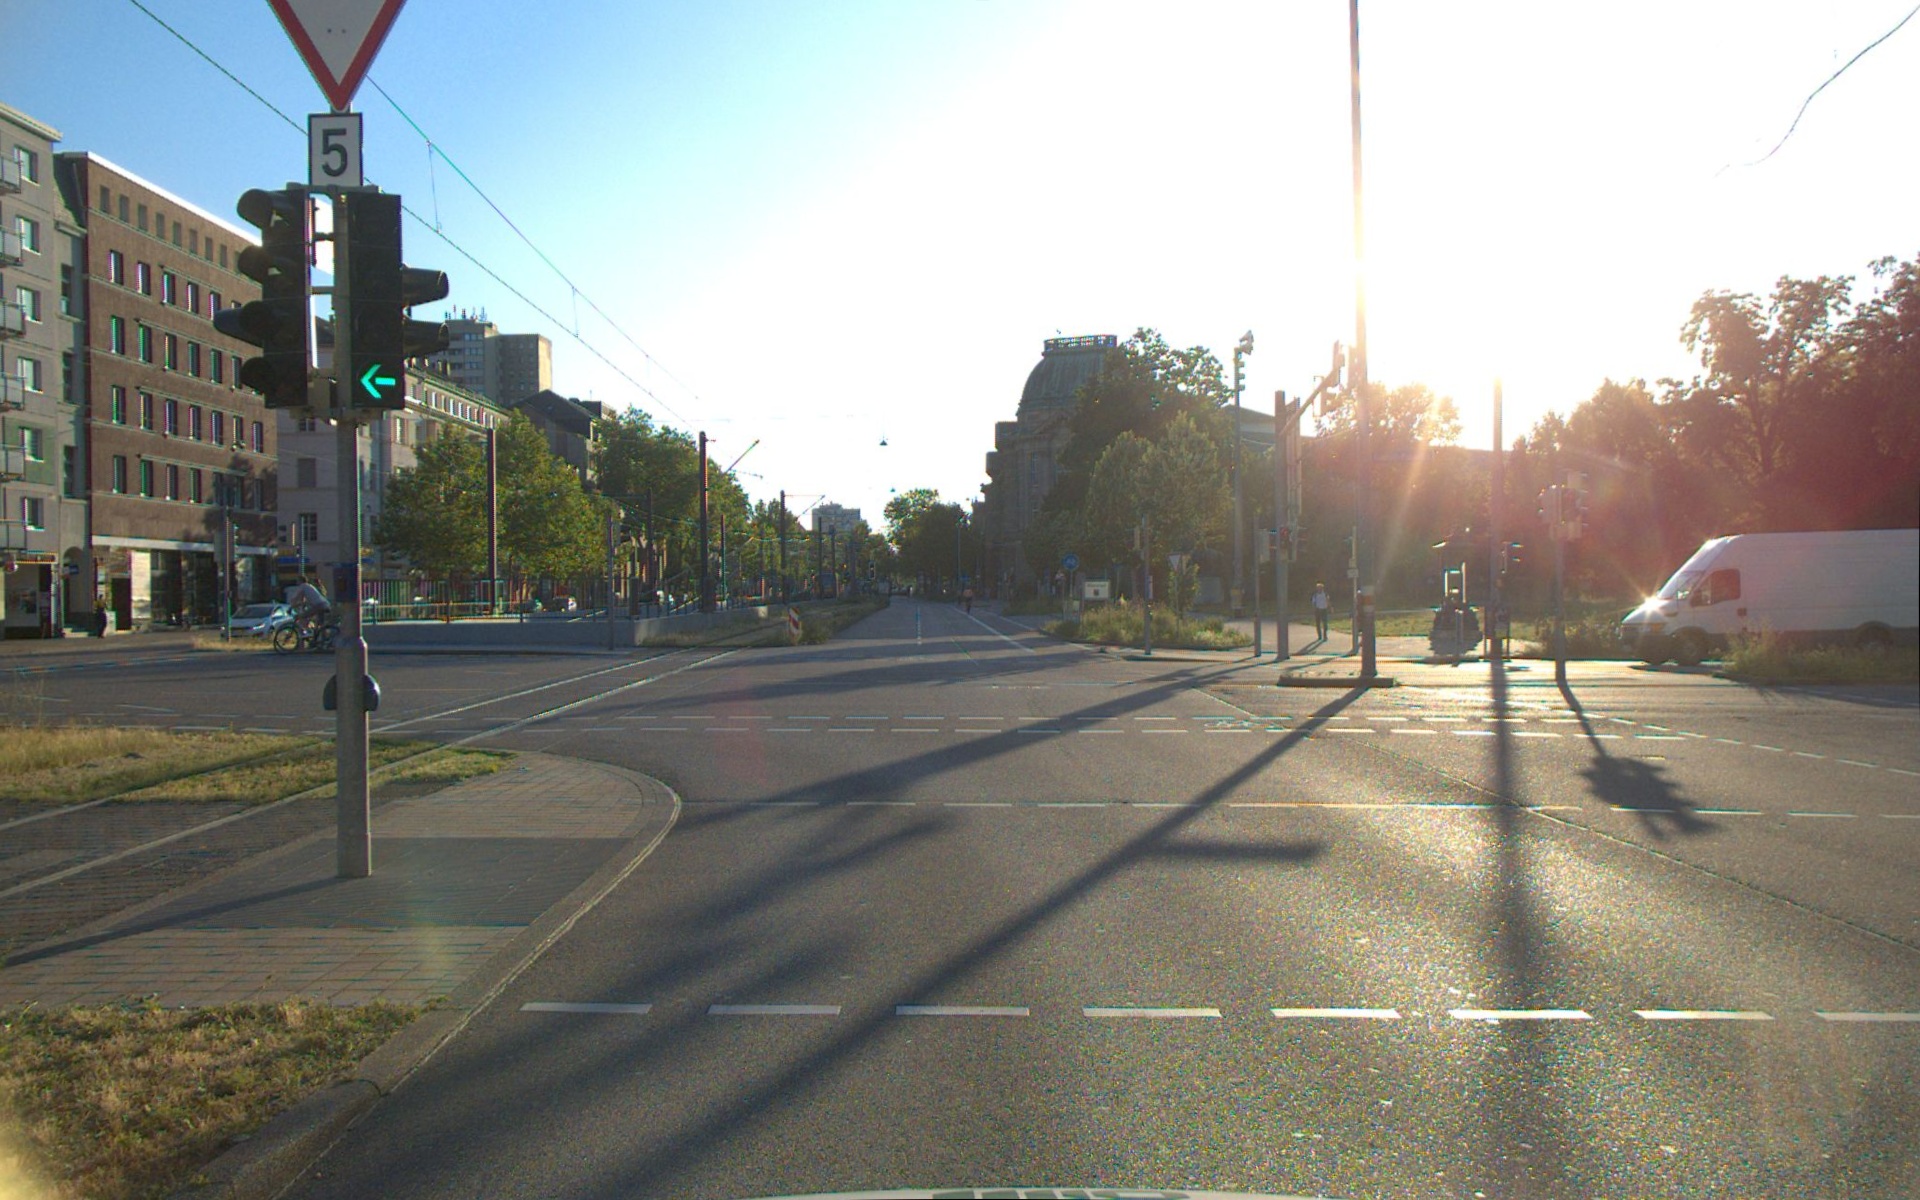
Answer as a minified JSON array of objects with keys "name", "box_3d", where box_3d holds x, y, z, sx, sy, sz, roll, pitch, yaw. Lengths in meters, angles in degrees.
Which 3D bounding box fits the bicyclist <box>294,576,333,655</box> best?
[{"name":"bicyclist","box_3d":[-15.394,0.358,39.403,0.780,1.850,0.643,-1,0,-16]}]

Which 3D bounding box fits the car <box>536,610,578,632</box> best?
[{"name":"car","box_3d":[-28.104,1.434,115.516,1.781,1.445,4.002,-1,0,3]}]

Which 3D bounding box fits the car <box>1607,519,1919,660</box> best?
[{"name":"car","box_3d":[17.842,-0.235,35.742,6.866,2.877,2.093,-1,0,1]}]

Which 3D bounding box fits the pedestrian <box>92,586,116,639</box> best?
[{"name":"pedestrian","box_3d":[-36.698,0.530,70.912,0.589,2.216,0.792,-1,0,-1]}]

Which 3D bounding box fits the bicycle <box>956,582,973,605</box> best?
[{"name":"bicycle","box_3d":[0.270,-0.416,107.919,1.075,1.423,2.831,-1,0,-1]}]

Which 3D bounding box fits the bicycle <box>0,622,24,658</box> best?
[{"name":"bicycle","box_3d":[-32.885,1.372,56.250,1.655,1.199,0.748,-1,0,1]}]

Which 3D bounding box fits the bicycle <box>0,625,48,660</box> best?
[{"name":"bicycle","box_3d":[-32.879,1.486,57.758,1.655,1.164,0.697,-1,0,1]}]

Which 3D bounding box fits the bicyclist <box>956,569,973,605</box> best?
[{"name":"bicyclist","box_3d":[0.269,-0.872,107.879,1.060,2.316,0.986,0,0,-1]}]

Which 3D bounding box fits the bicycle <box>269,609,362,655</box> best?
[{"name":"bicycle","box_3d":[-16.084,0.792,41.307,2.130,1.102,0.536,0,0,-18]}]

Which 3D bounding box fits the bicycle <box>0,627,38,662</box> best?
[{"name":"bicycle","box_3d":[-32.818,1.531,57.025,1.655,1.190,0.748,-1,0,1]}]

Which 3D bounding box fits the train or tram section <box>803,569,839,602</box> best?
[{"name":"train or tram section","box_3d":[-17.339,-1.790,206.269,4.301,3.917,11.398,-1,0,-5]}]

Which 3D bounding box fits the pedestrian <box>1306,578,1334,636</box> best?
[{"name":"pedestrian","box_3d":[11.406,0.212,52.383,0.815,1.835,0.811,-1,0,14]}]

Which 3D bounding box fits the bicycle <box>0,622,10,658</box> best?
[{"name":"bicycle","box_3d":[-32.901,1.354,55.491,1.655,1.173,0.705,-1,0,1]}]

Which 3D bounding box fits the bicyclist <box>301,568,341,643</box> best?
[{"name":"bicyclist","box_3d":[-15.969,0.140,41.348,0.862,1.850,0.535,-1,0,-18]}]

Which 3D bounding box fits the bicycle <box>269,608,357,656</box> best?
[{"name":"bicycle","box_3d":[-15.395,0.751,39.396,1.871,1.094,0.629,-1,0,-17]}]

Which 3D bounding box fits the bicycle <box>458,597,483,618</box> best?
[{"name":"bicycle","box_3d":[-30.124,0.468,101.818,0.796,1.222,2.413,-1,0,2]}]

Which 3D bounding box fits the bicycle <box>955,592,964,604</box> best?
[{"name":"bicycle","box_3d":[-0.049,-0.175,161.868,0.905,1.131,2.332,-1,0,-1]}]

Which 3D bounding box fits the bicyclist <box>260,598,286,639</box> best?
[{"name":"bicyclist","box_3d":[-30.028,0.804,72.288,0.686,1.773,0.792,-1,0,10]}]

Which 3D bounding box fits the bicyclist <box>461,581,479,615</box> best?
[{"name":"bicyclist","box_3d":[-30.218,-0.121,102.064,0.780,2.049,0.924,-1,0,1]}]

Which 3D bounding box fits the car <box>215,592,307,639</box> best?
[{"name":"car","box_3d":[-26.201,0.547,62.121,1.654,1.646,4.000,-2,0,0]}]
